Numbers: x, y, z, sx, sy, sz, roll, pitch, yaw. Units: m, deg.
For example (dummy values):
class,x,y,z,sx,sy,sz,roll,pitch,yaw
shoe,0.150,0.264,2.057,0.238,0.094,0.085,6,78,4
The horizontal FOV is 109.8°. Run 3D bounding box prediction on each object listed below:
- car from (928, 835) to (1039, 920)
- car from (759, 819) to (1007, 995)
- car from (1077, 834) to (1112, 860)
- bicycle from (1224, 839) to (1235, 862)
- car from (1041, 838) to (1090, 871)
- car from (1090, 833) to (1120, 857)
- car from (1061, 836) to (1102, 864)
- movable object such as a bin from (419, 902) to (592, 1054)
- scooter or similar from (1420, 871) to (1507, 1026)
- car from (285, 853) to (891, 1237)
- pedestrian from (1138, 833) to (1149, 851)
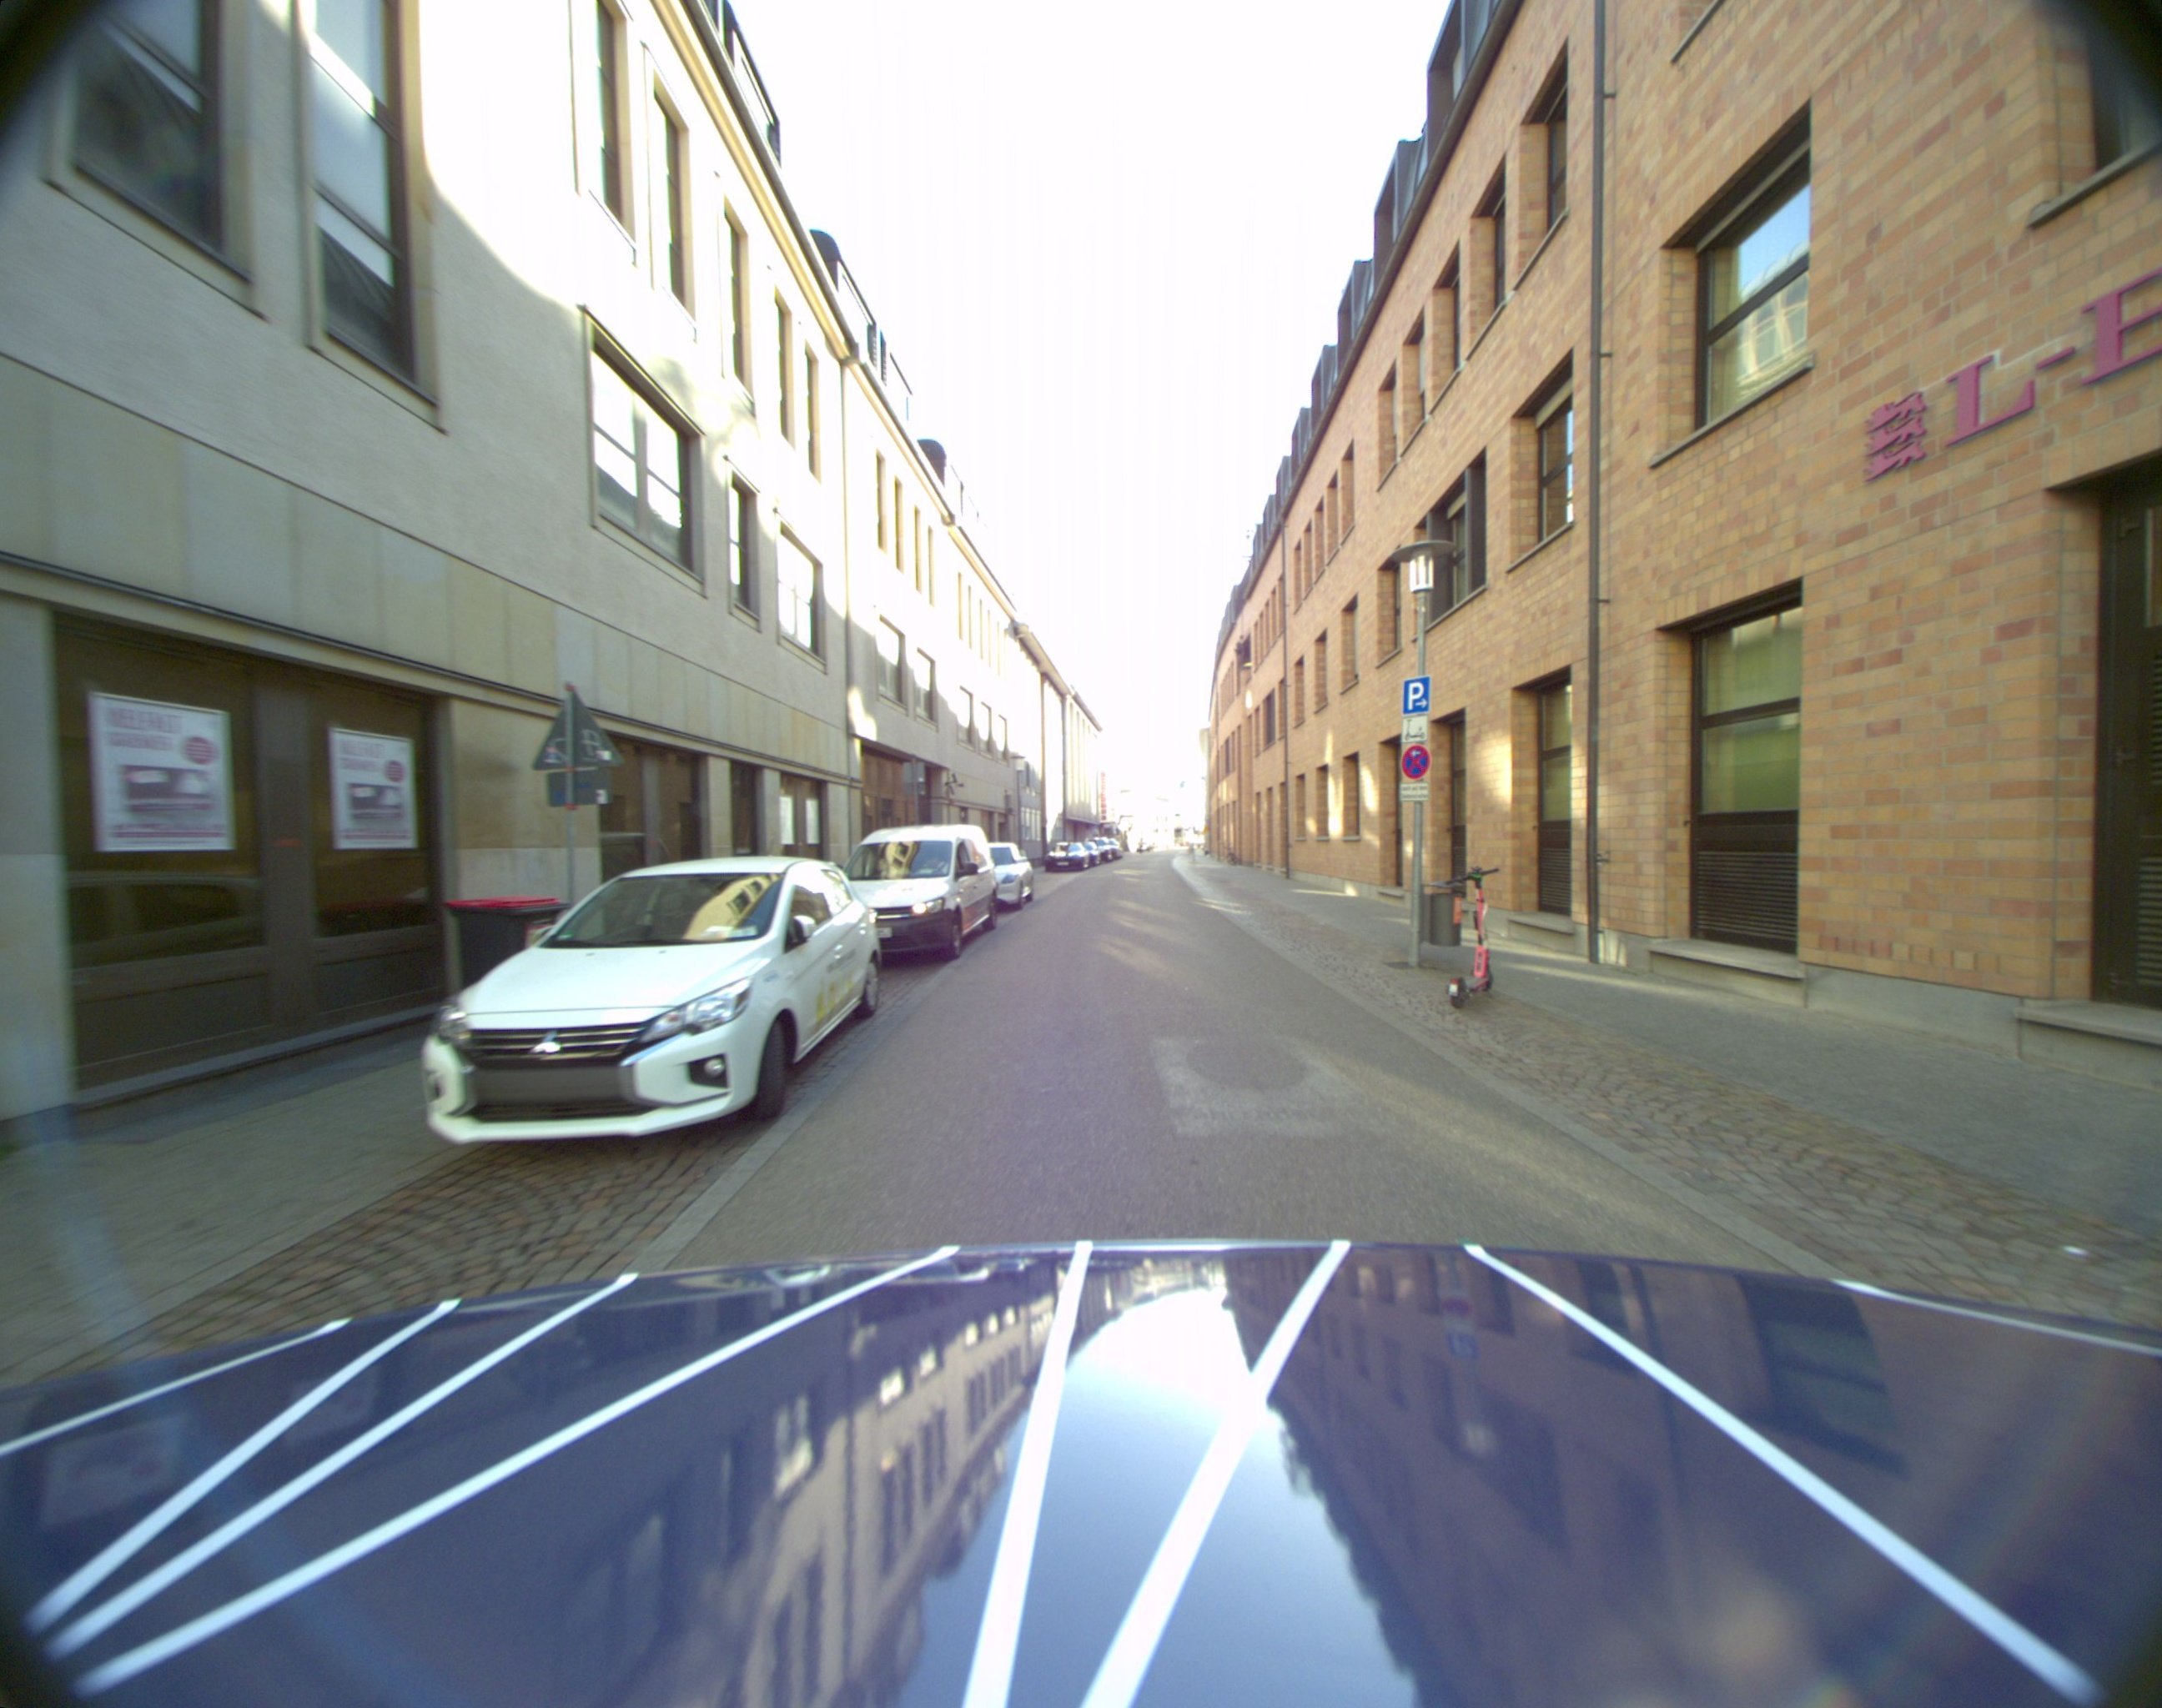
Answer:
class,x,y,z,sx,sy,sz,roll,pitch,yaw
car,-2.126,0.451,17.609,1.775,1.575,3.856,-5,2,3
car,-2.509,0.527,11.249,1.947,1.851,5.193,-5,2,3
car,0.941,-0.495,50.318,1.964,1.527,4.196,-2,2,6
bicycle,7.787,-0.176,39.856,0.431,1.138,1.690,-1,2,7
car,-0.712,-0.019,38.162,1.964,1.400,4.196,-2,2,6
car,1.889,-0.749,57.826,1.964,1.637,4.196,-2,2,6
car,0.077,-0.256,44.594,1.964,1.400,4.196,-2,2,6
movable object such as a bin,-4.774,0.996,6.375,0.688,1.080,0.929,-2,2,-1
scooter or similar,3.456,0.782,6.820,0.467,1.218,1.302,2,2,36
car,-2.656,0.842,5.364,1.736,1.539,3.998,-2,2,-3
pedestrian,6.774,-1.305,82.273,0.945,2.002,0.898,-2,2,-15
